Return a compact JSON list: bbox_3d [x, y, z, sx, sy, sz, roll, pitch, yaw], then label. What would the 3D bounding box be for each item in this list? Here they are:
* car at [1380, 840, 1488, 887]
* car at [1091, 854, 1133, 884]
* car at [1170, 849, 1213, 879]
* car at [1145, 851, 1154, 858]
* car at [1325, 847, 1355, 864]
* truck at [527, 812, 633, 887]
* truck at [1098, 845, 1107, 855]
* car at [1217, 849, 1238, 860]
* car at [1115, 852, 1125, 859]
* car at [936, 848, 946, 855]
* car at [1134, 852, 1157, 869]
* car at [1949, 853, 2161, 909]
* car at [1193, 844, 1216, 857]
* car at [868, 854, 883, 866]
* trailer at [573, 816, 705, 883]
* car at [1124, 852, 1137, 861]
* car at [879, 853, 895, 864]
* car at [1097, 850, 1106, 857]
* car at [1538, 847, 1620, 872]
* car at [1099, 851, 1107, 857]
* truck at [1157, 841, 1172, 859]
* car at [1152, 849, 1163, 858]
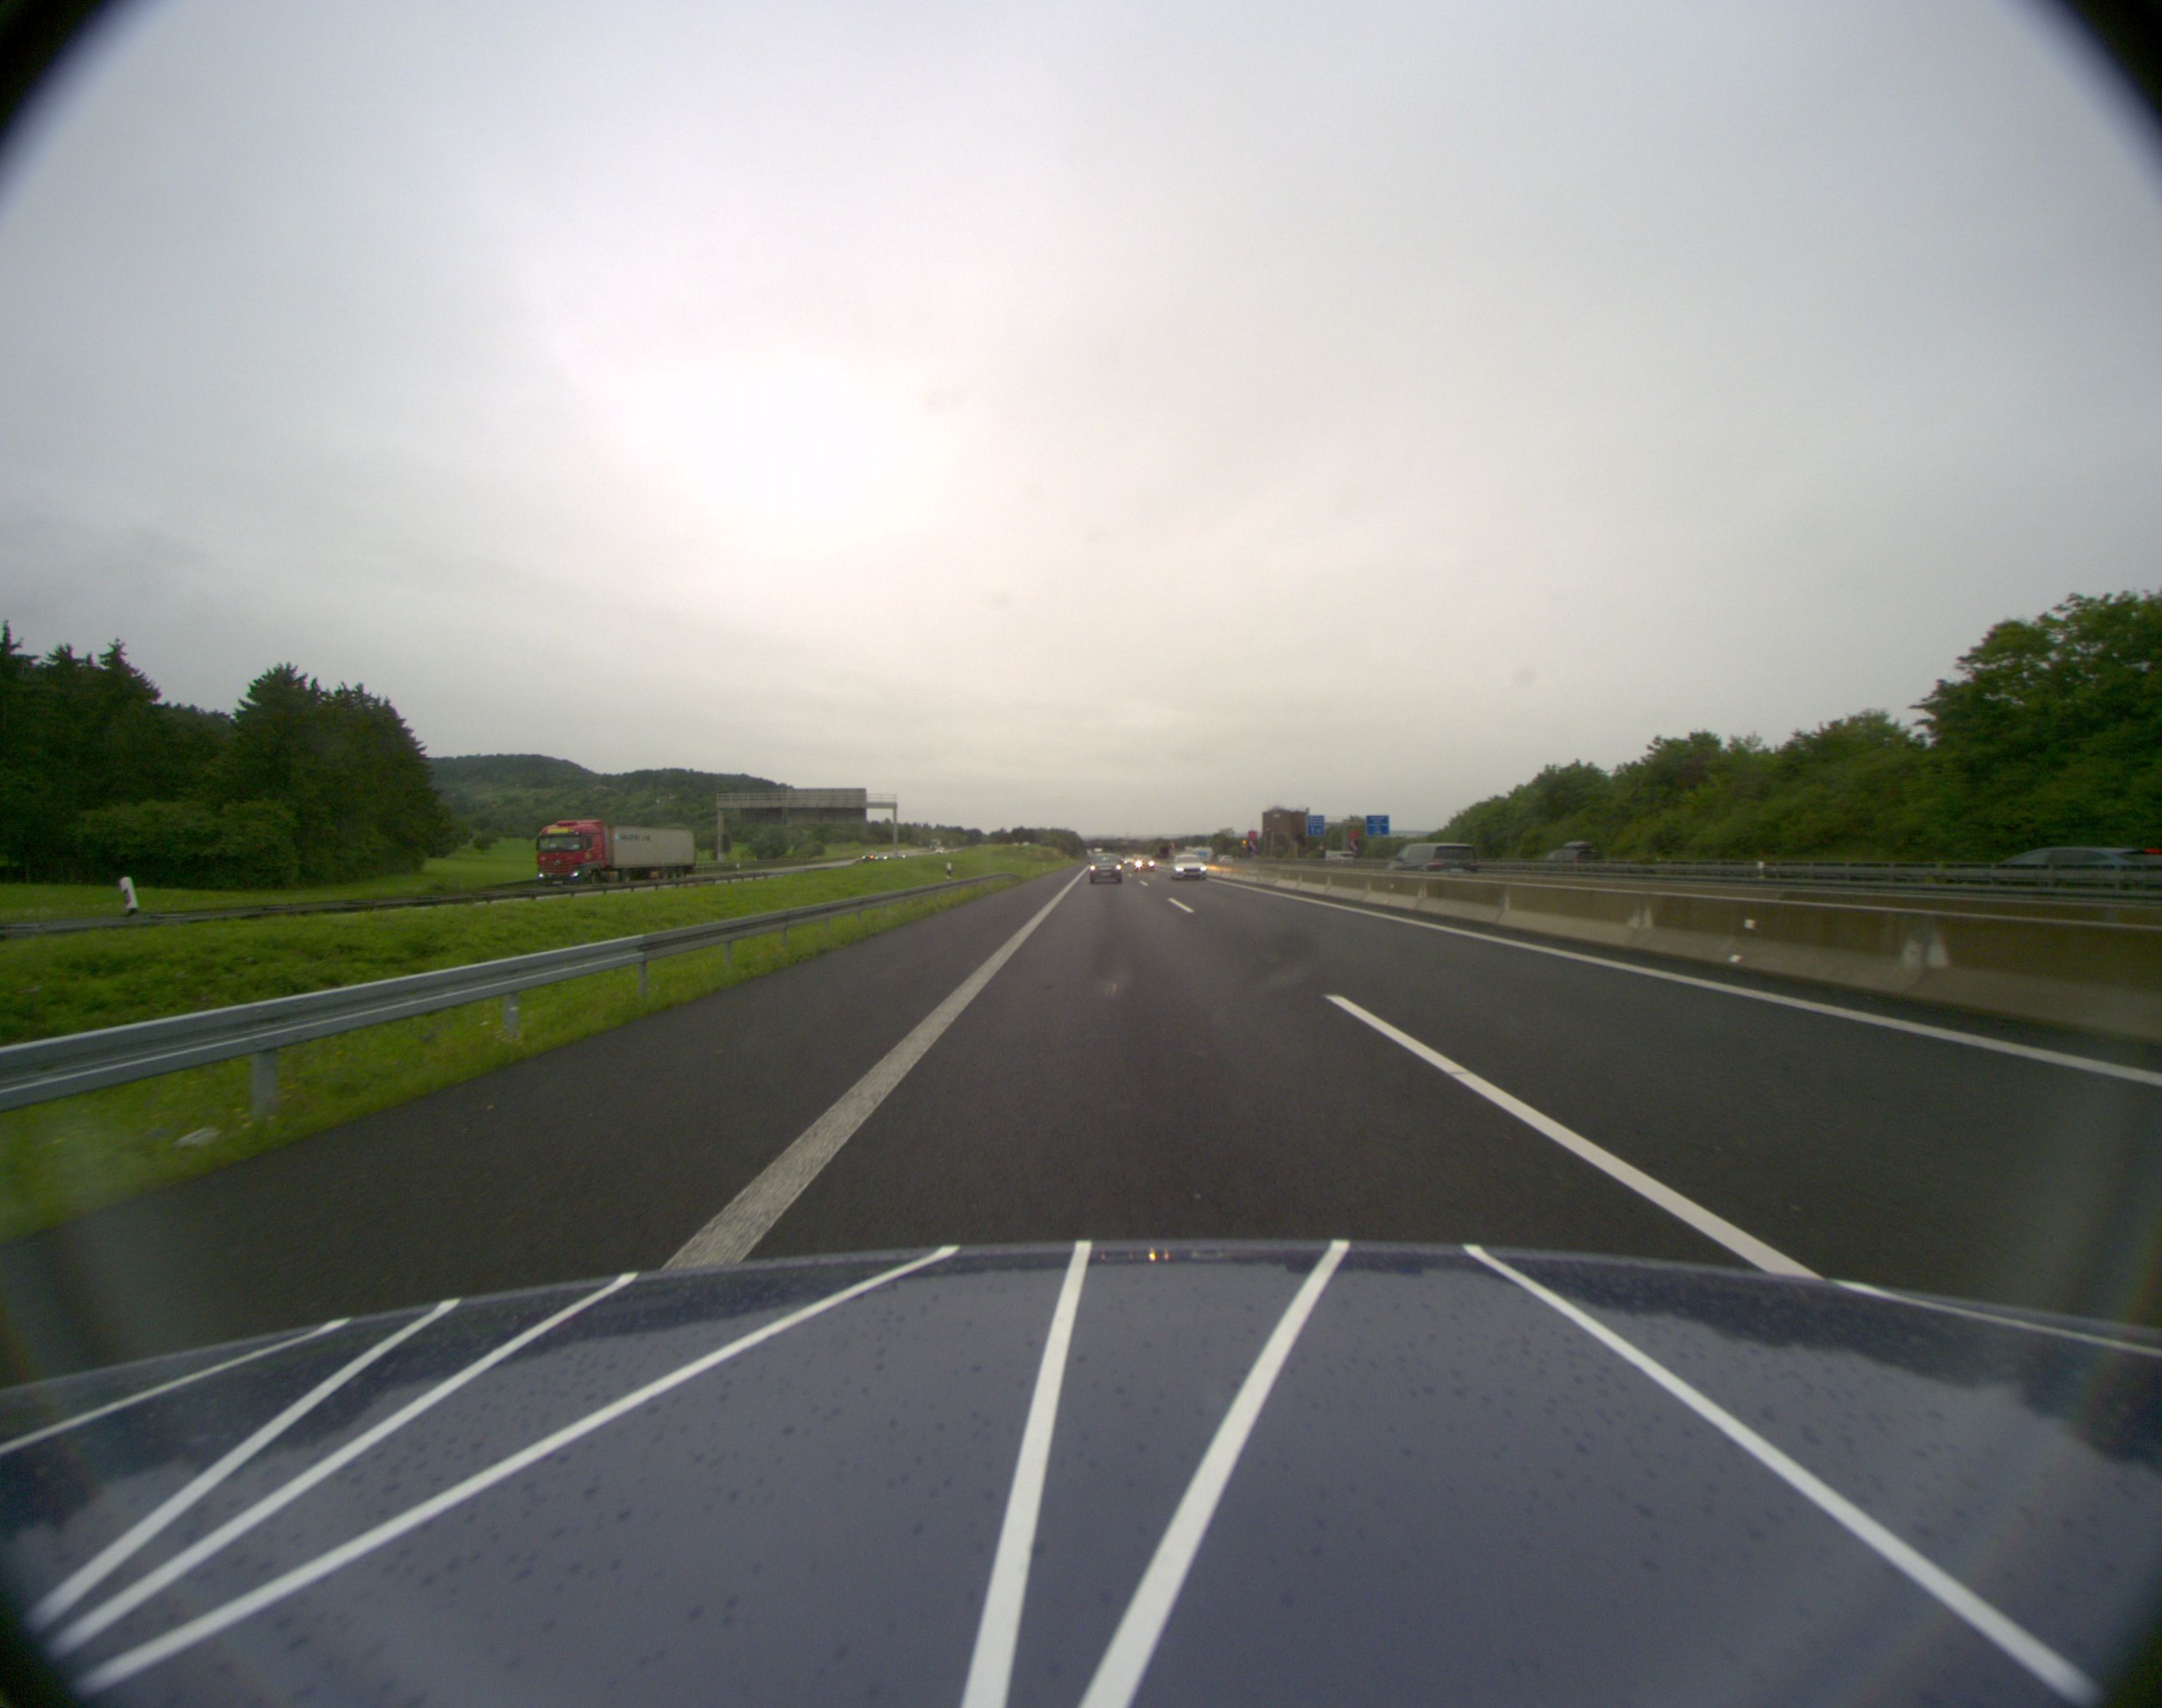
[{"bbox_3d":[14.079,0.355,30.724,1.998,1.641,5.026,-2,0,0],"label":"car"},{"bbox_3d":[1.810,0.830,43.830,2.242,1.565,4.817,-2,0,3],"label":"car"},{"bbox_3d":[6.531,0.567,45.212,1.998,1.582,4.817,-2,0,2],"label":"car"},{"bbox_3d":[18.763,0.124,207.901,2.161,1.755,4.960,-1,1,1],"label":"car"},{"bbox_3d":[30.985,0.141,90.952,1.998,2.002,4.715,-2,1,0],"label":"car"},{"bbox_3d":[-29.016,-0.265,44.354,2.515,3.964,5.925,-3,1,-5],"label":"truck"},{"bbox_3d":[7.067,-1.222,250.509,2.728,3.098,7.961,-3,0,2],"label":"truck"},{"bbox_3d":[20.156,0.073,104.619,1.998,1.427,4.679,-2,0,1],"label":"car"},{"bbox_3d":[8.520,0.314,164.785,1.998,1.565,4.000,-2,0,2],"label":"car"},{"bbox_3d":[-37.186,-0.646,201.742,1.999,2.002,3.999,-1,0,-3],"label":"car"},{"bbox_3d":[5.803,0.571,68.571,1.834,1.417,4.368,-2,0,3],"label":"car"},{"bbox_3d":[28.682,0.694,21.942,1.998,1.398,4.676,-1,0,2],"label":"car"},{"bbox_3d":[16.298,-0.465,100.534,2.363,1.683,5.907,-1,0,2],"label":"car"},{"bbox_3d":[-35.193,0.983,130.161,1.653,2.002,3.998,-1,0,-6],"label":"car"},{"bbox_3d":[-29.649,-0.293,51.929,2.498,3.961,12.399,-3,0,-5],"label":"trailer"},{"bbox_3d":[7.982,0.372,123.638,1.941,1.341,4.001,-2,0,2],"label":"car"},{"bbox_3d":[-30.817,0.758,120.665,2.000,1.710,4.315,-1,0,-8],"label":"car"},{"bbox_3d":[4.959,-0.118,181.395,1.941,1.341,4.001,-3,0,2],"label":"car"},{"bbox_3d":[30.010,0.305,45.958,1.998,1.398,4.676,-1,0,2],"label":"car"},{"bbox_3d":[5.373,-0.040,187.558,1.941,1.341,4.001,-3,0,2],"label":"car"},{"bbox_3d":[22.852,-1.033,207.726,3.408,4.705,10.486,-2,0,3],"label":"truck"},{"bbox_3d":[16.535,-0.027,164.213,1.998,1.825,4.679,-2,0,0],"label":"car"}]
